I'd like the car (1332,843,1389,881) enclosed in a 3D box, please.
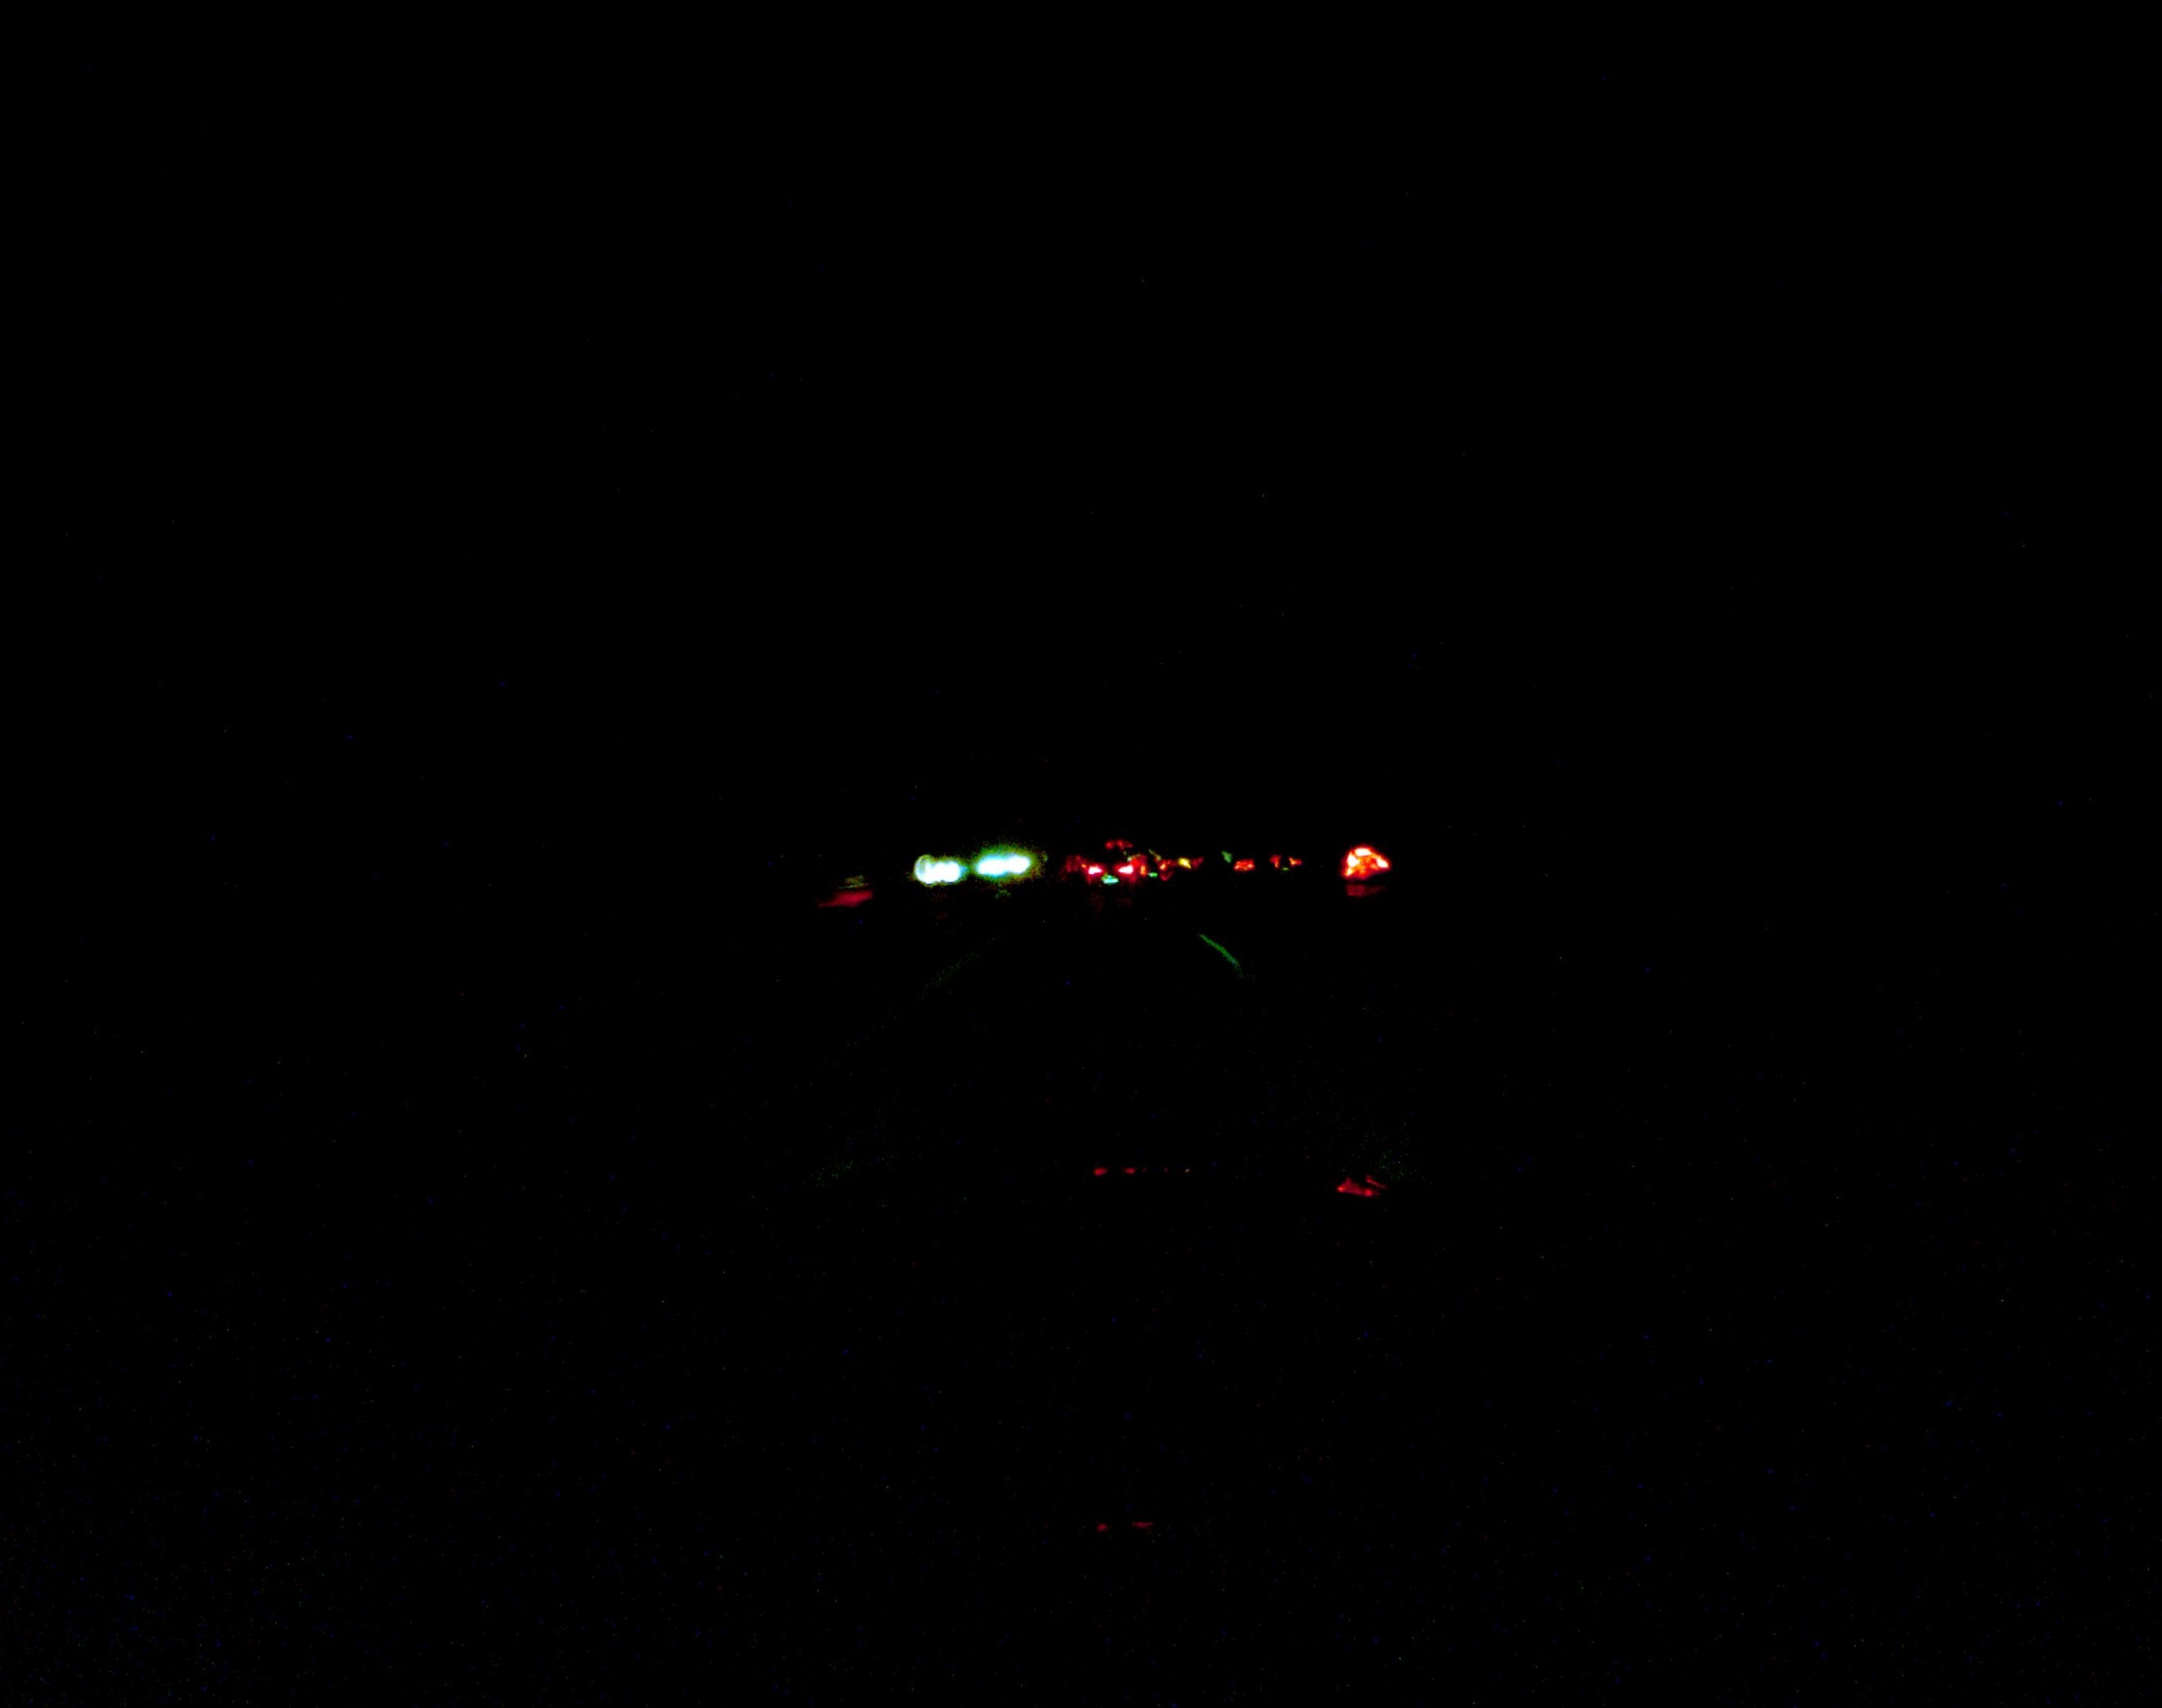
[{"bbox_3d":[16.037,0.432,47.021,2.052,2.013,5.459,0,0,7],"label":"car"}]

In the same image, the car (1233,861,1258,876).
[{"bbox_3d":[18.531,1.660,91.930,1.986,1.600,4.000,1,-1,1],"label":"car"}]

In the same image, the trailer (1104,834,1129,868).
[{"bbox_3d":[5.624,-0.686,132.916,2.733,4.245,13.367,2,5,-3],"label":"trailer"}]

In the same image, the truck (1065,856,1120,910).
[{"bbox_3d":[0.581,1.157,35.256,2.136,2.077,6.607,1,-1,2],"label":"truck"}]

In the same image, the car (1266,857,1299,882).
[{"bbox_3d":[17.115,1.271,69.230,2.221,2.013,4.007,0,0,7],"label":"car"}]

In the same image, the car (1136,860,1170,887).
[{"bbox_3d":[4.721,1.245,53.887,1.794,1.617,4.256,-2,-1,1],"label":"car"}]

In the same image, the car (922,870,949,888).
[{"bbox_3d":[-15.479,2.631,86.860,1.986,1.720,4.289,1,-1,1],"label":"car"}]
